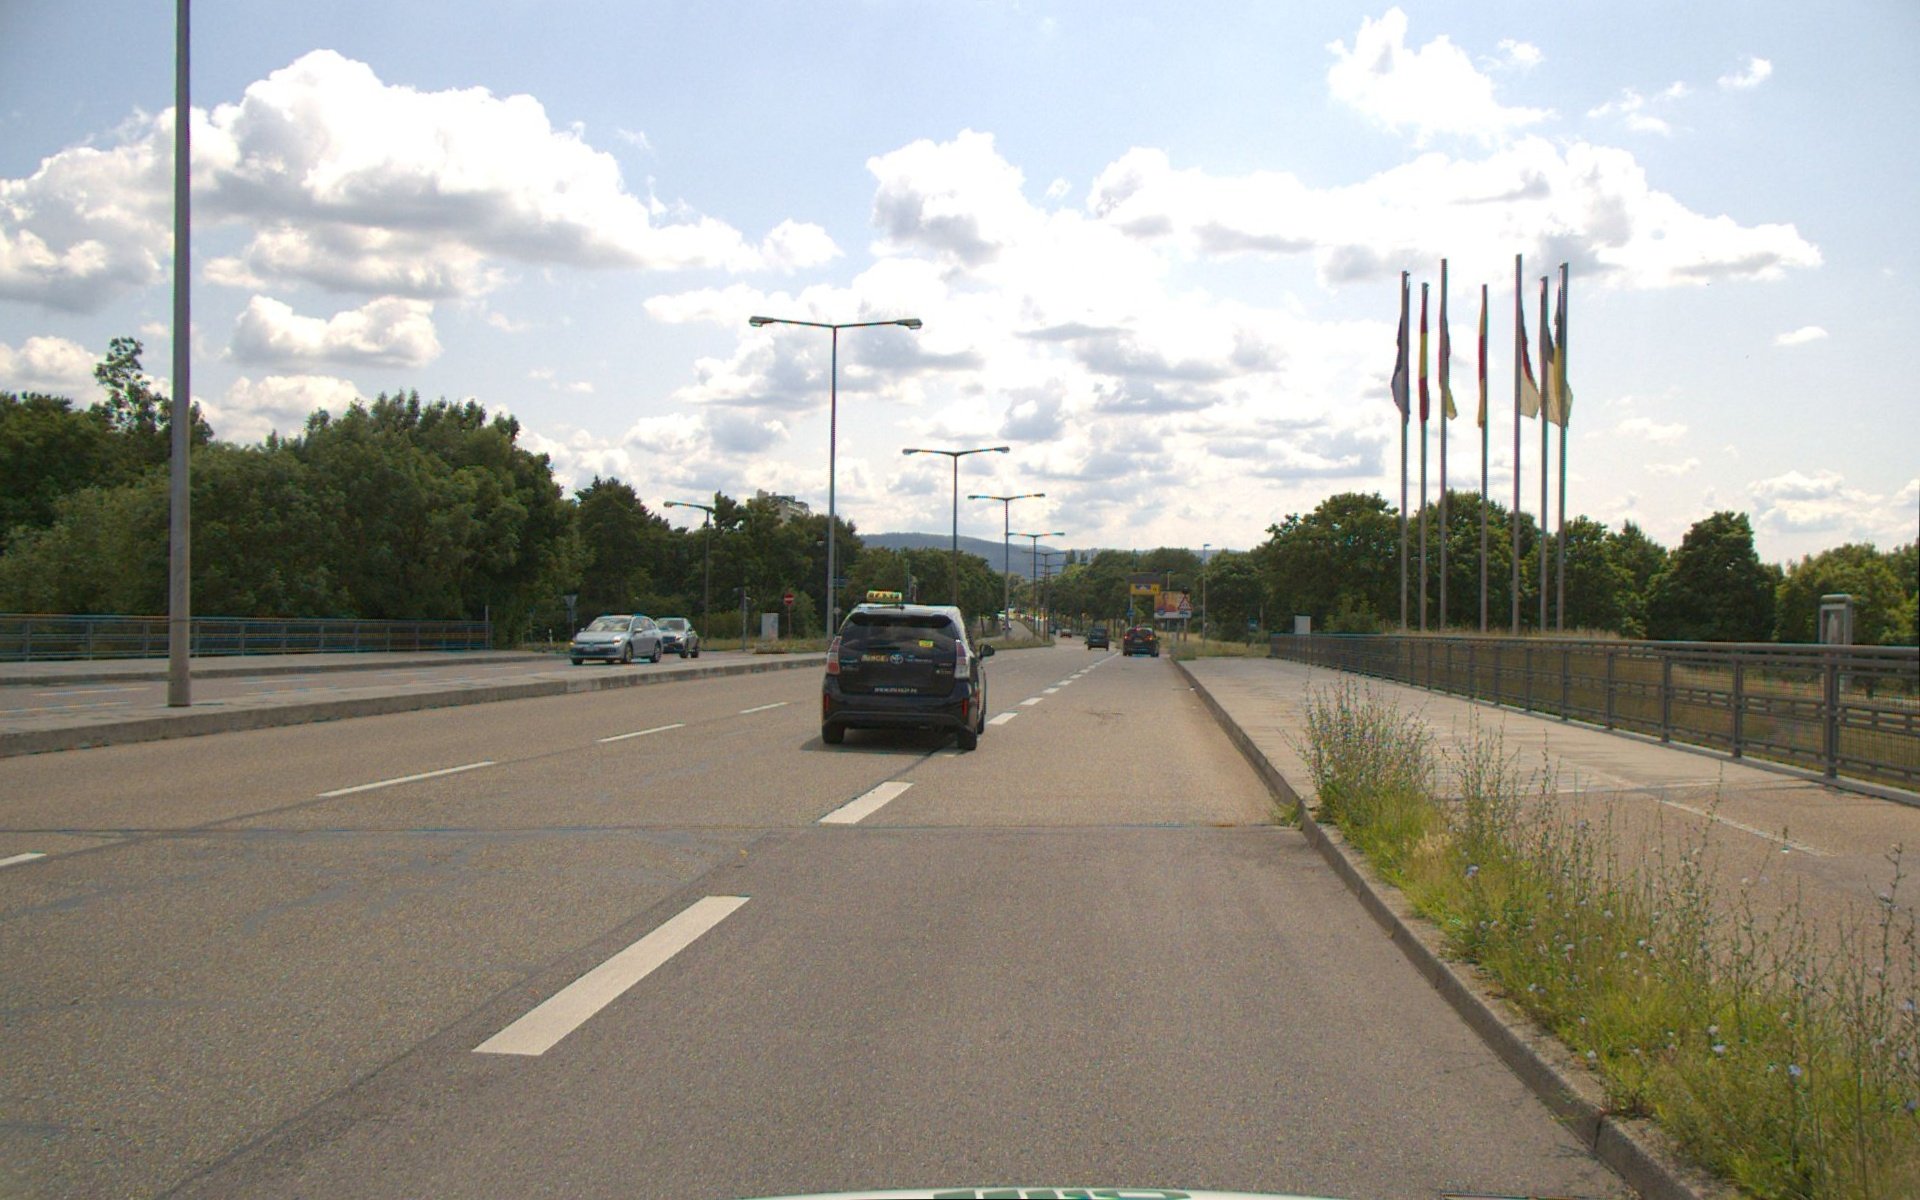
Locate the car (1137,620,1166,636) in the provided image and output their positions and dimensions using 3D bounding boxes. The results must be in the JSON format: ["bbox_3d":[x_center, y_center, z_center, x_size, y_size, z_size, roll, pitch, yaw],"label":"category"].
[{"bbox_3d":[22.351,3.278,193.652,1.961,1.691,3.983,2,0,-16],"label":"car"}]

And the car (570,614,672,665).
[{"bbox_3d":[-10.383,1.192,50.975,1.628,1.438,4.553,-2,0,8],"label":"car"}]

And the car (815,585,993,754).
[{"bbox_3d":[-0.551,0.727,19.431,1.742,1.713,4.001,2,0,2],"label":"car"}]

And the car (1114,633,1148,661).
[{"bbox_3d":[11.401,3.109,110.520,1.952,1.691,4.001,2,0,3],"label":"car"}]

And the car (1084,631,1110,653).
[{"bbox_3d":[11.510,3.537,139.259,1.952,1.691,4.001,2,0,3],"label":"car"}]

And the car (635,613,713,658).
[{"bbox_3d":[-11.649,1.421,67.656,2.044,1.655,4.552,2,0,4],"label":"car"}]

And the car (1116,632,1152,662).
[{"bbox_3d":[10.758,2.896,102.384,1.952,1.691,4.001,2,0,3],"label":"car"}]
